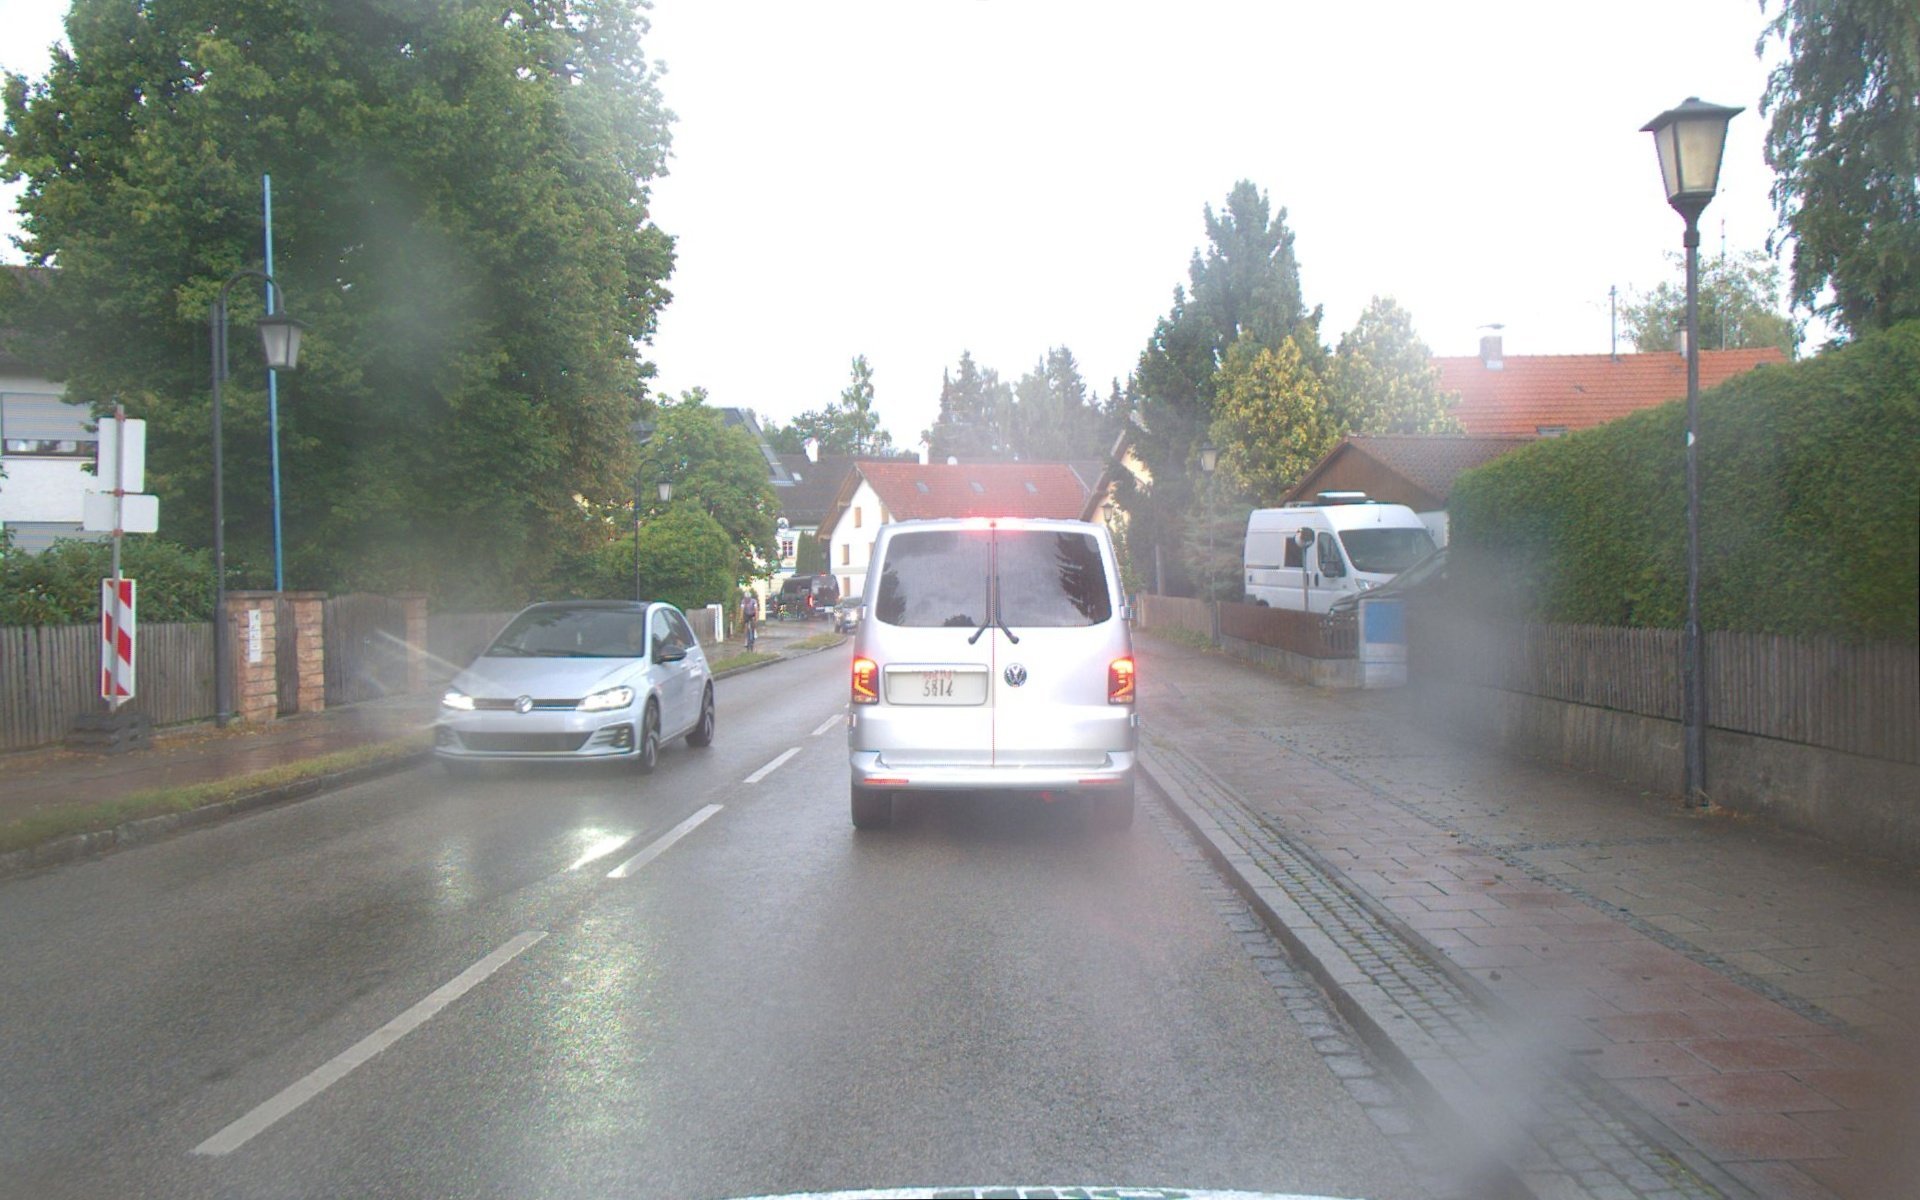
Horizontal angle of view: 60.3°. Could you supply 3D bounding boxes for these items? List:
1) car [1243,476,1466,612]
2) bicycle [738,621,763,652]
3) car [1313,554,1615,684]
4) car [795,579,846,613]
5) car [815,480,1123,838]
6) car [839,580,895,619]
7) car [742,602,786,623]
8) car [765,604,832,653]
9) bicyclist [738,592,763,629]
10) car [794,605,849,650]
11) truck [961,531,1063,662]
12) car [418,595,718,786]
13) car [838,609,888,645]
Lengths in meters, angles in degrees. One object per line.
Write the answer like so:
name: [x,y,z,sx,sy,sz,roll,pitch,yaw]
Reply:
car: [6.996,-0.909,29.920,1.959,2.211,4.937,1,-1,-13]
bicycle: [-5.854,1.010,46.370,0.447,0.812,1.977,0,0,0]
car: [7.509,0.249,24.855,4.012,1.782,1.694,-1,2,-3]
car: [-8.355,-0.207,98.625,1.966,1.961,3.973,1,-1,-22]
car: [0.155,0.359,11.600,1.763,2.049,4.001,1,-1,3]
car: [-5.132,-0.040,90.453,1.964,2.049,3.976,1,-1,-20]
car: [-12.952,0.844,109.058,1.759,1.333,3.743,1,-1,-27]
car: [-4.978,0.863,51.278,1.584,1.470,3.671,0,-1,2]
bicyclist: [-5.870,0.295,46.389,0.575,1.039,1.060,0,0,0]
car: [-4.653,0.908,55.878,1.585,1.470,3.670,0,-1,0]
truck: [1.265,-0.051,43.100,2.425,3.128,6.295,1,-1,0]
car: [-3.363,0.729,14.962,1.681,1.467,4.000,1,-1,1]
car: [-4.425,1.219,75.025,1.794,1.586,4.167,-1,-1,-10]
